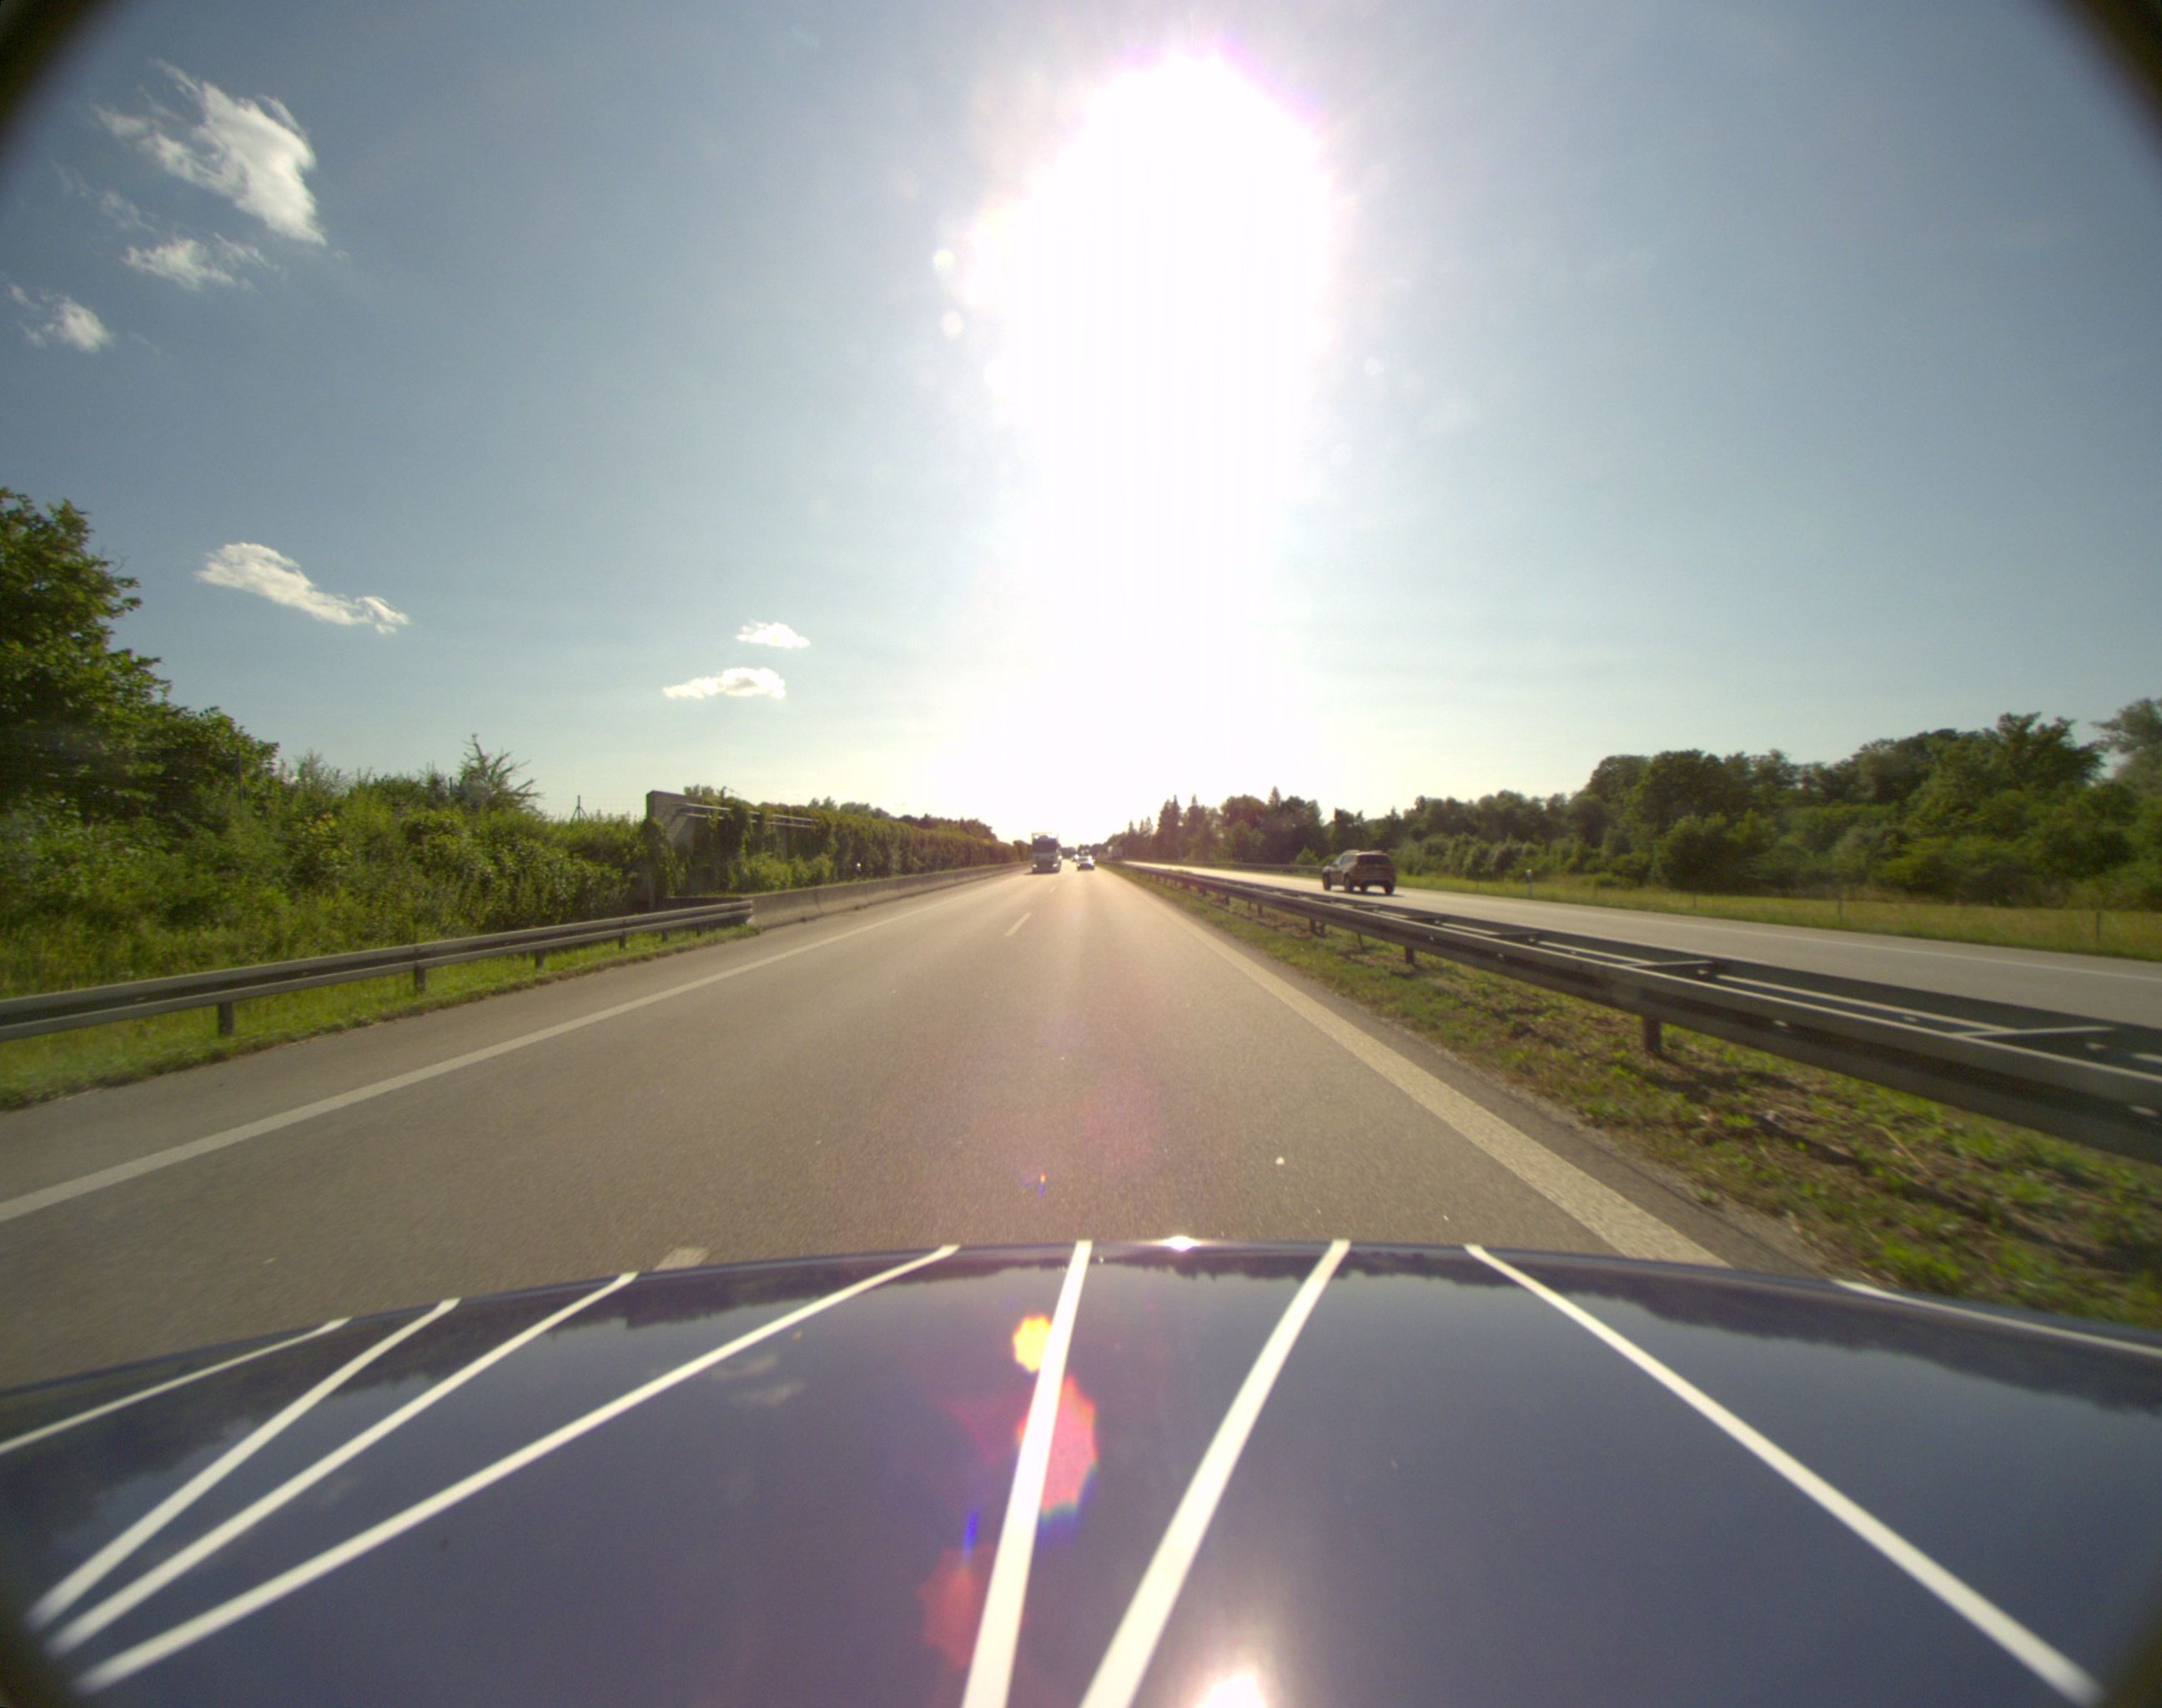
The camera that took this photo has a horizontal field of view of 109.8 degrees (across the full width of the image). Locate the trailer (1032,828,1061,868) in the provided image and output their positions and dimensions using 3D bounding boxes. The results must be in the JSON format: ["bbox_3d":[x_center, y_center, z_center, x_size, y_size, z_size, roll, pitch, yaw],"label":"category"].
[{"bbox_3d":[-3.604,-0.569,81.704,2.826,3.943,14.157,0,0,-2],"label":"trailer"}]

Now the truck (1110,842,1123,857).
[{"bbox_3d":[9.530,-1.229,203.768,3.164,4.077,7.734,1,0,-1],"label":"truck"}]

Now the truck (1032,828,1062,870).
[{"bbox_3d":[-3.329,-0.498,74.844,2.848,3.943,7.042,0,0,-2],"label":"truck"}]

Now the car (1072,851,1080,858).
[{"bbox_3d":[-1.292,0.105,181.924,1.742,1.514,3.998,-1,1,-2],"label":"car"}]

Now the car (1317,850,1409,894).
[{"bbox_3d":[11.330,0.685,30.963,1.998,1.652,4.775,1,0,1],"label":"car"}]

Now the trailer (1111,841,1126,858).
[{"bbox_3d":[9.583,-1.089,196.696,3.159,4.100,13.439,1,0,-1],"label":"trailer"}]

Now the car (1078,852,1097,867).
[{"bbox_3d":[0.668,0.536,79.738,1.871,1.514,4.283,1,0,-1],"label":"car"}]
